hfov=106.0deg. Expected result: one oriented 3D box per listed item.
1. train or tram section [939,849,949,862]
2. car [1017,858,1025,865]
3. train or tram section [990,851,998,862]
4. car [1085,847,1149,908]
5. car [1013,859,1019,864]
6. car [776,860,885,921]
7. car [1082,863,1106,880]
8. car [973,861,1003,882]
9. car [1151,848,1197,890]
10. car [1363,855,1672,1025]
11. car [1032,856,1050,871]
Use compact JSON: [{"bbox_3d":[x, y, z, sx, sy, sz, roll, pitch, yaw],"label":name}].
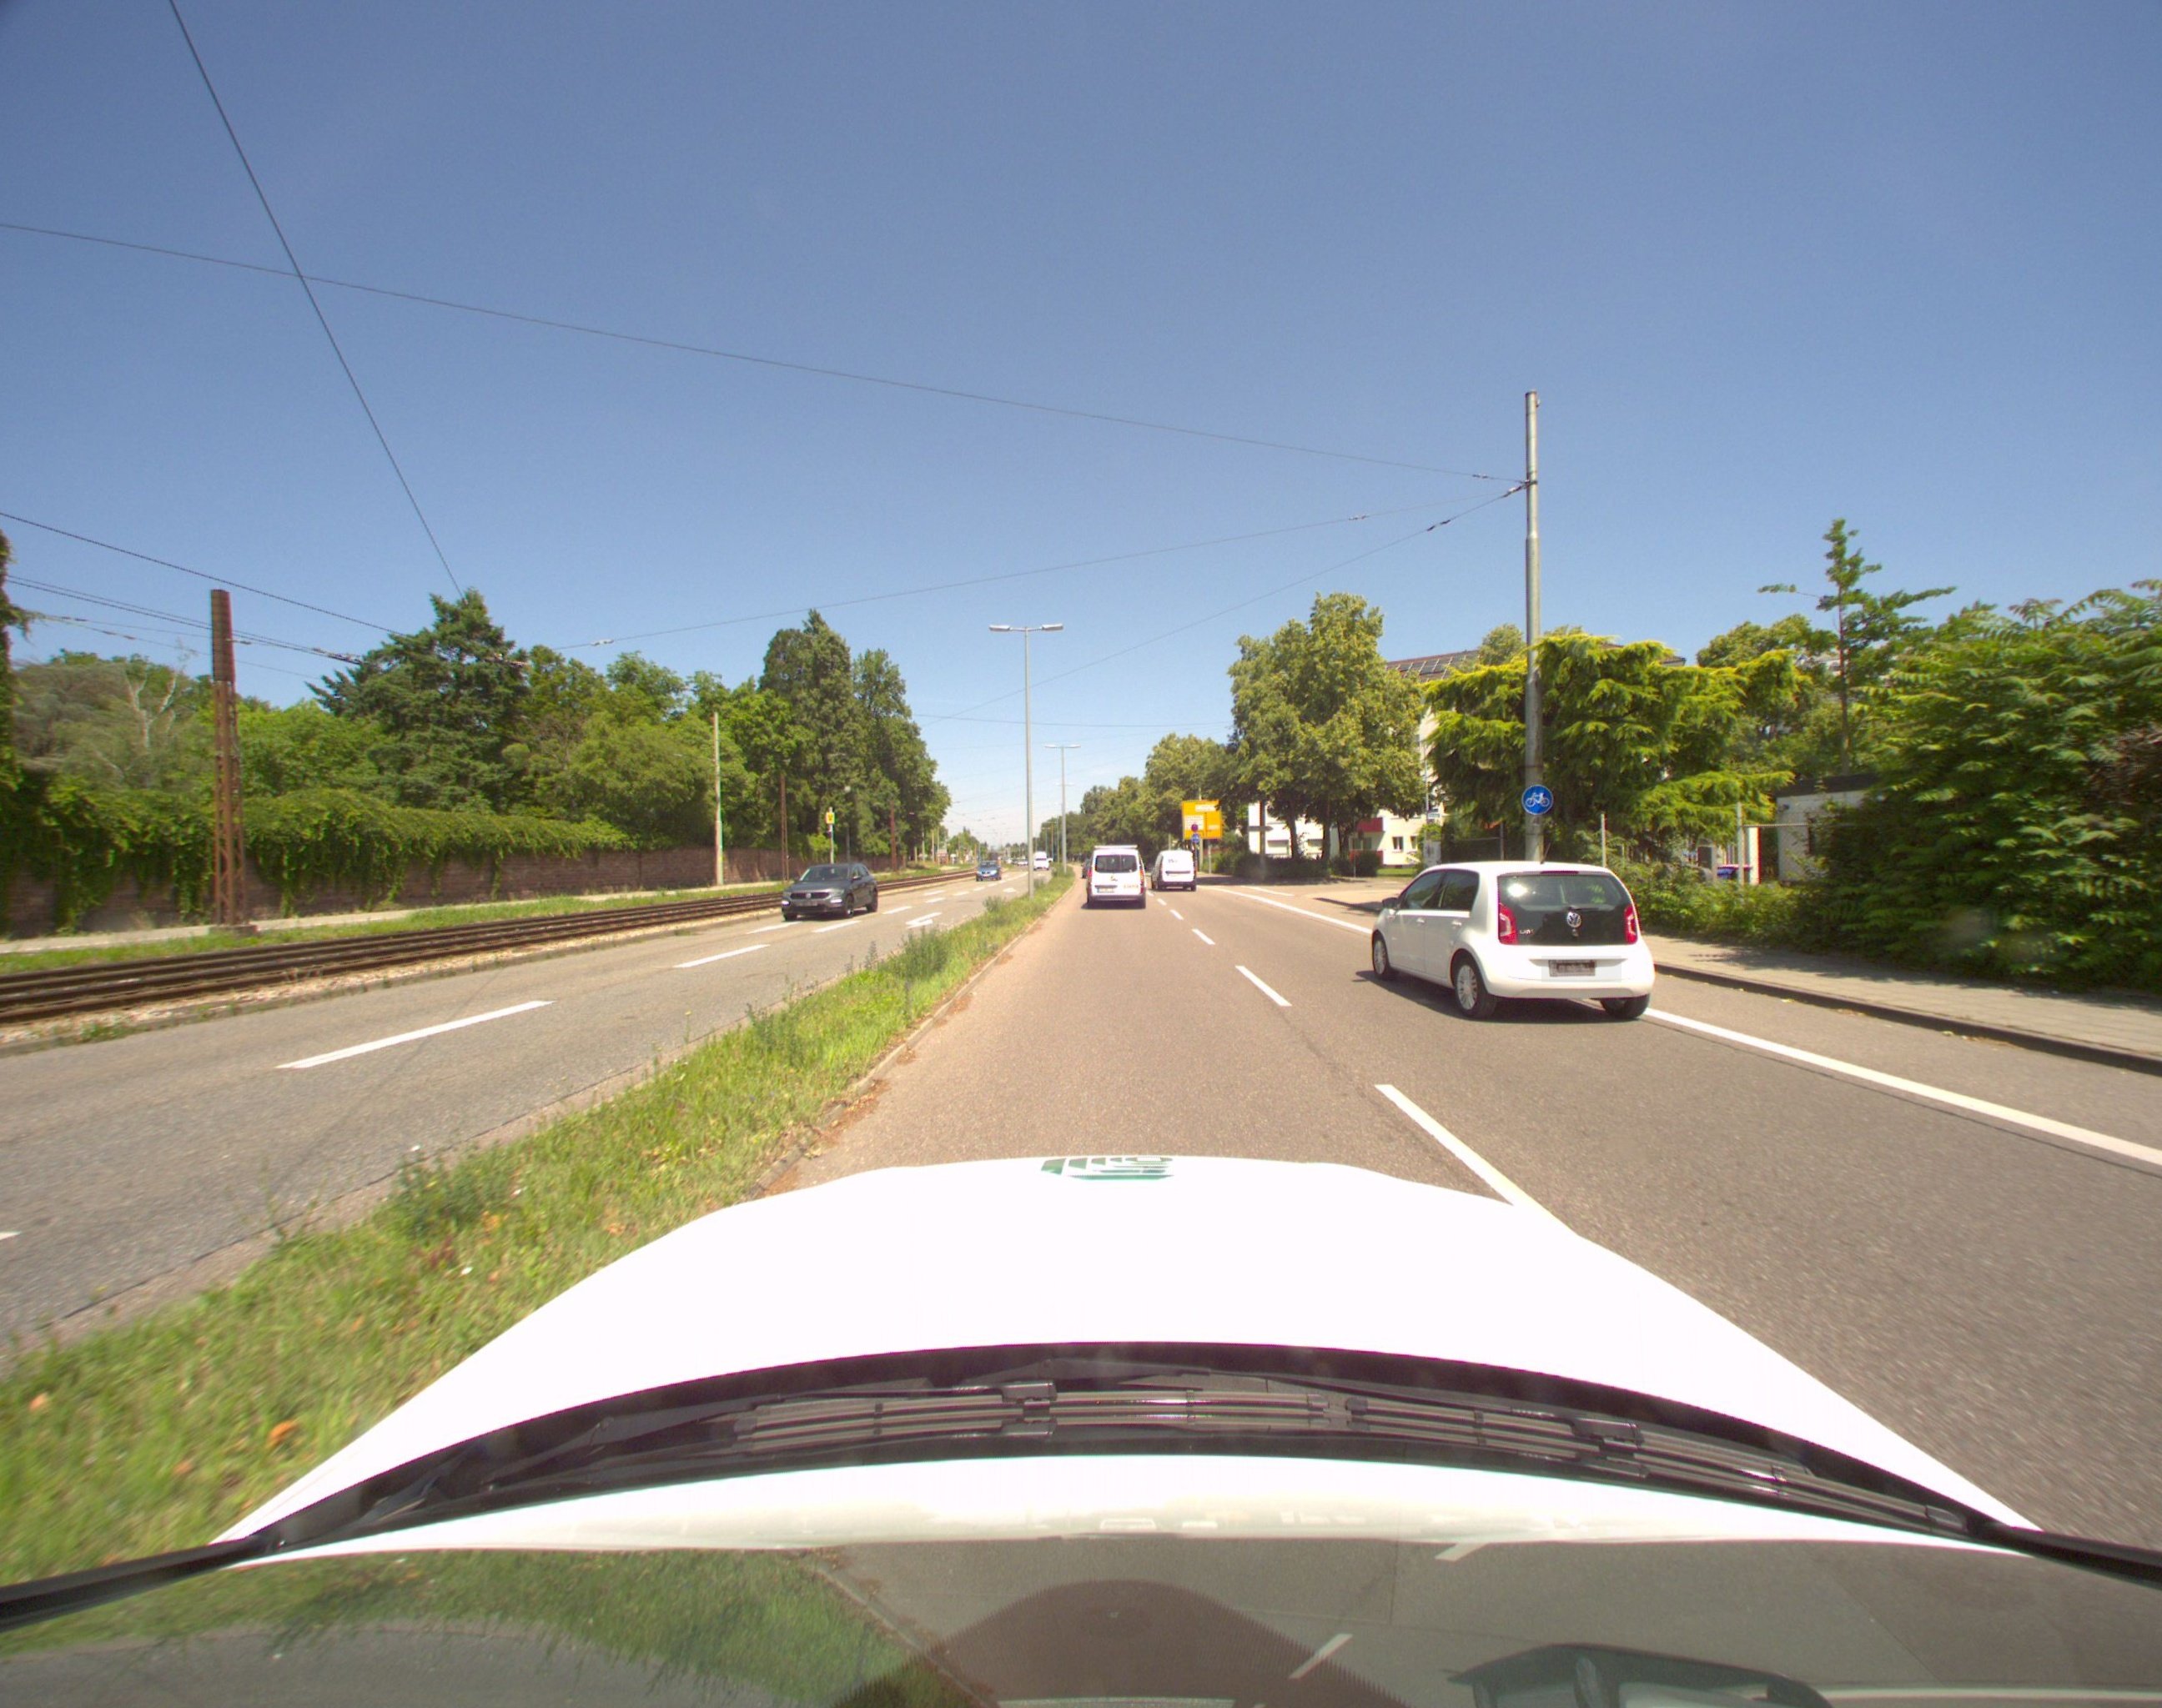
[{"bbox_3d":[-38.442,0.358,228.456,1.992,3.524,16.127,1,-1,-7],"label":"train or tram section"},{"bbox_3d":[-13.820,1.764,187.651,1.743,1.567,3.995,1,-1,-3],"label":"car"},{"bbox_3d":[-24.588,0.696,228.883,1.992,3.086,16.127,1,-1,-7],"label":"train or tram section"},{"bbox_3d":[1.131,0.676,25.635,1.814,1.739,4.399,0,0,2],"label":"car"},{"bbox_3d":[-19.348,2.179,241.615,1.743,1.567,3.995,1,-1,-3],"label":"car"},{"bbox_3d":[-7.133,0.987,23.632,1.690,1.512,4.069,-1,0,3],"label":"car"},{"bbox_3d":[0.984,1.260,60.794,1.686,1.215,3.590,0,0,1],"label":"car"},{"bbox_3d":[-6.877,1.247,60.593,1.692,1.439,3.999,-2,0,0],"label":"car"},{"bbox_3d":[4.186,0.659,37.012,1.721,1.788,4.065,0,0,1],"label":"car"},{"bbox_3d":[4.427,0.756,8.871,1.603,1.447,3.437,0,0,2],"label":"car"},{"bbox_3d":[-5.054,1.210,104.159,1.986,1.816,4.001,-1,0,1],"label":"car"}]
